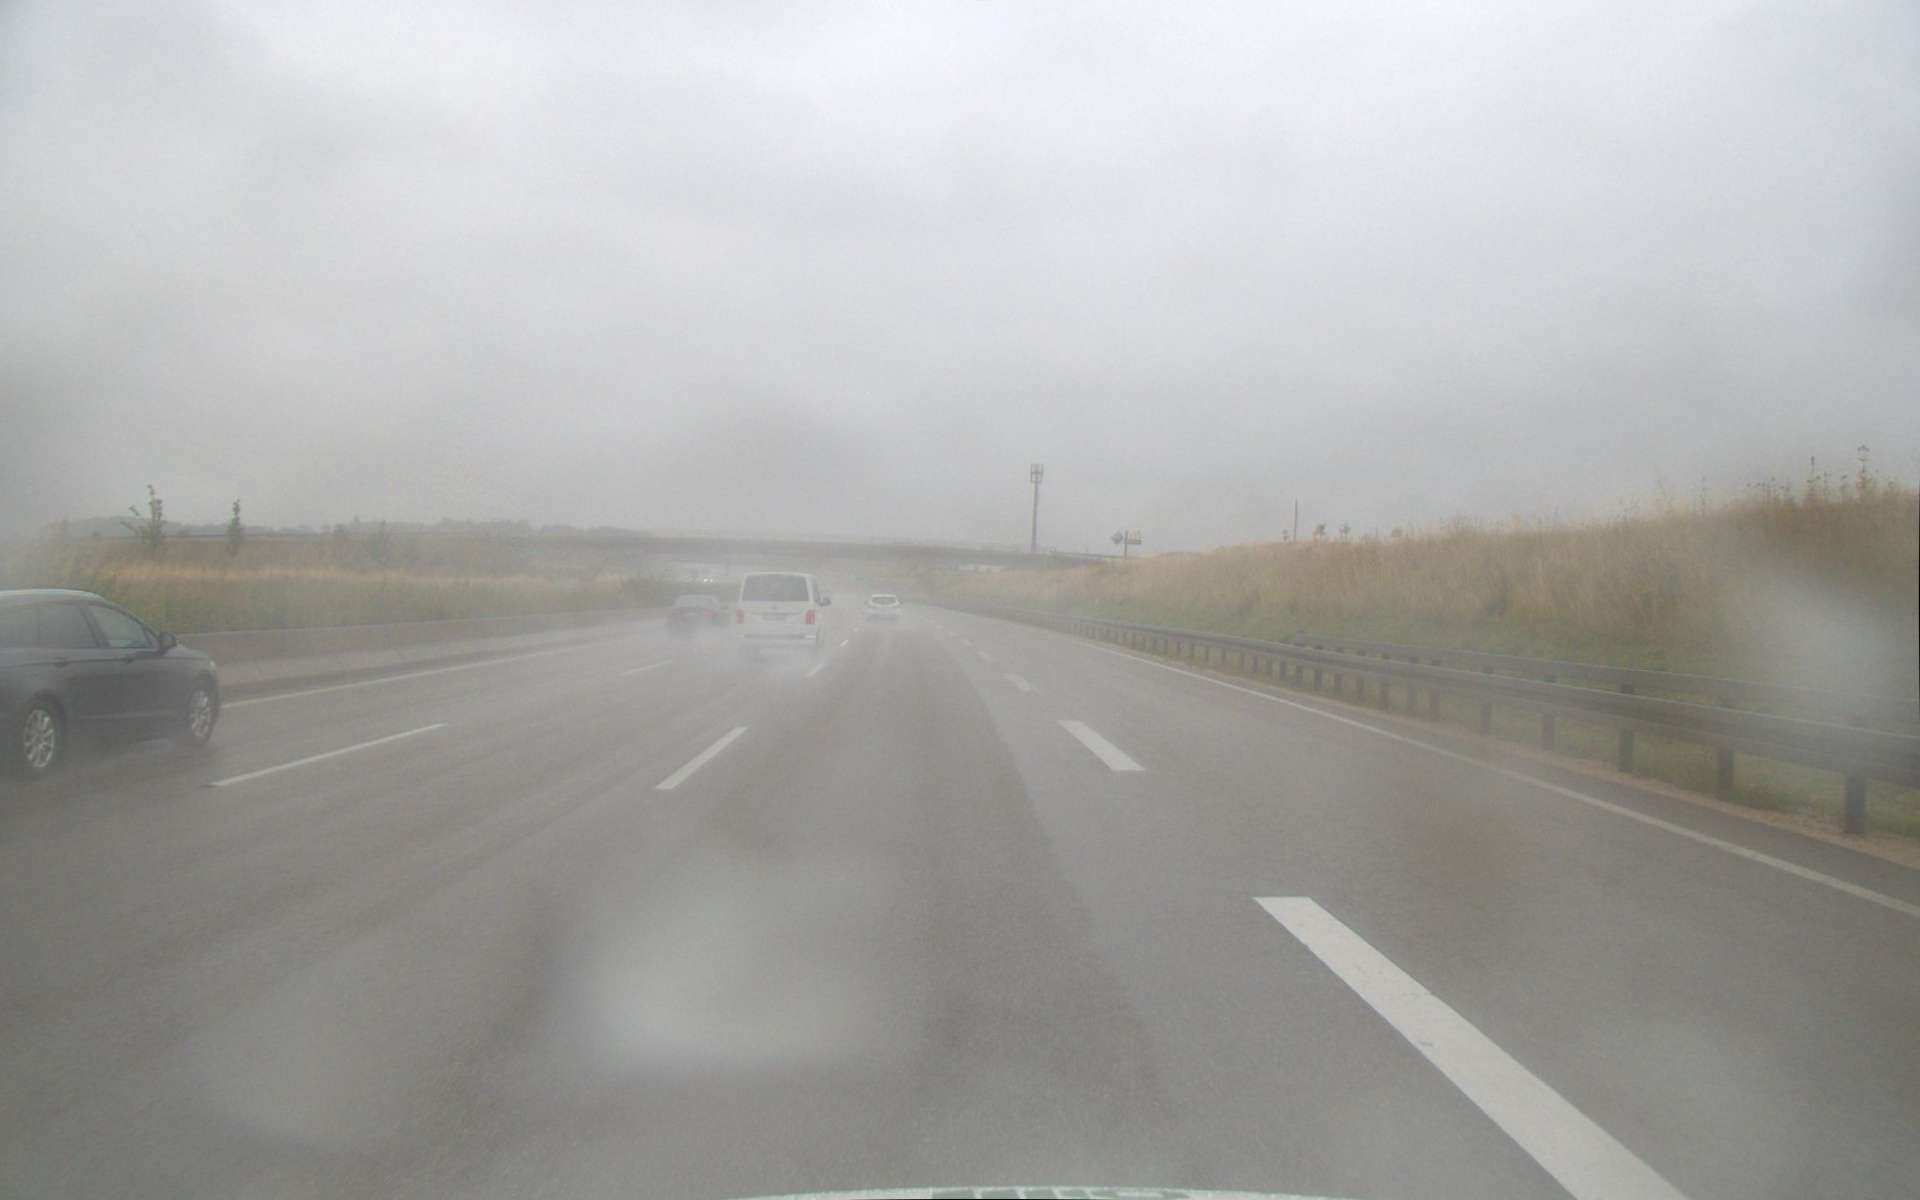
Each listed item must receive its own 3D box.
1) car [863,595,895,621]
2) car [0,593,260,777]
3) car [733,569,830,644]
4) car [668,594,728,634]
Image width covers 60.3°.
[{"bbox_3d":[-3.985,0.376,81.690,1.438,1.229,2.990,1,0,-1],"label":"car"},{"bbox_3d":[-7.778,0.637,14.541,1.580,1.378,3.999,1,0,-1],"label":"car"},{"bbox_3d":[-4.112,0.143,38.686,1.859,1.613,3.999,1,0,-1],"label":"car"},{"bbox_3d":[-8.679,0.447,54.932,1.438,1.279,3.340,1,0,0],"label":"car"}]
